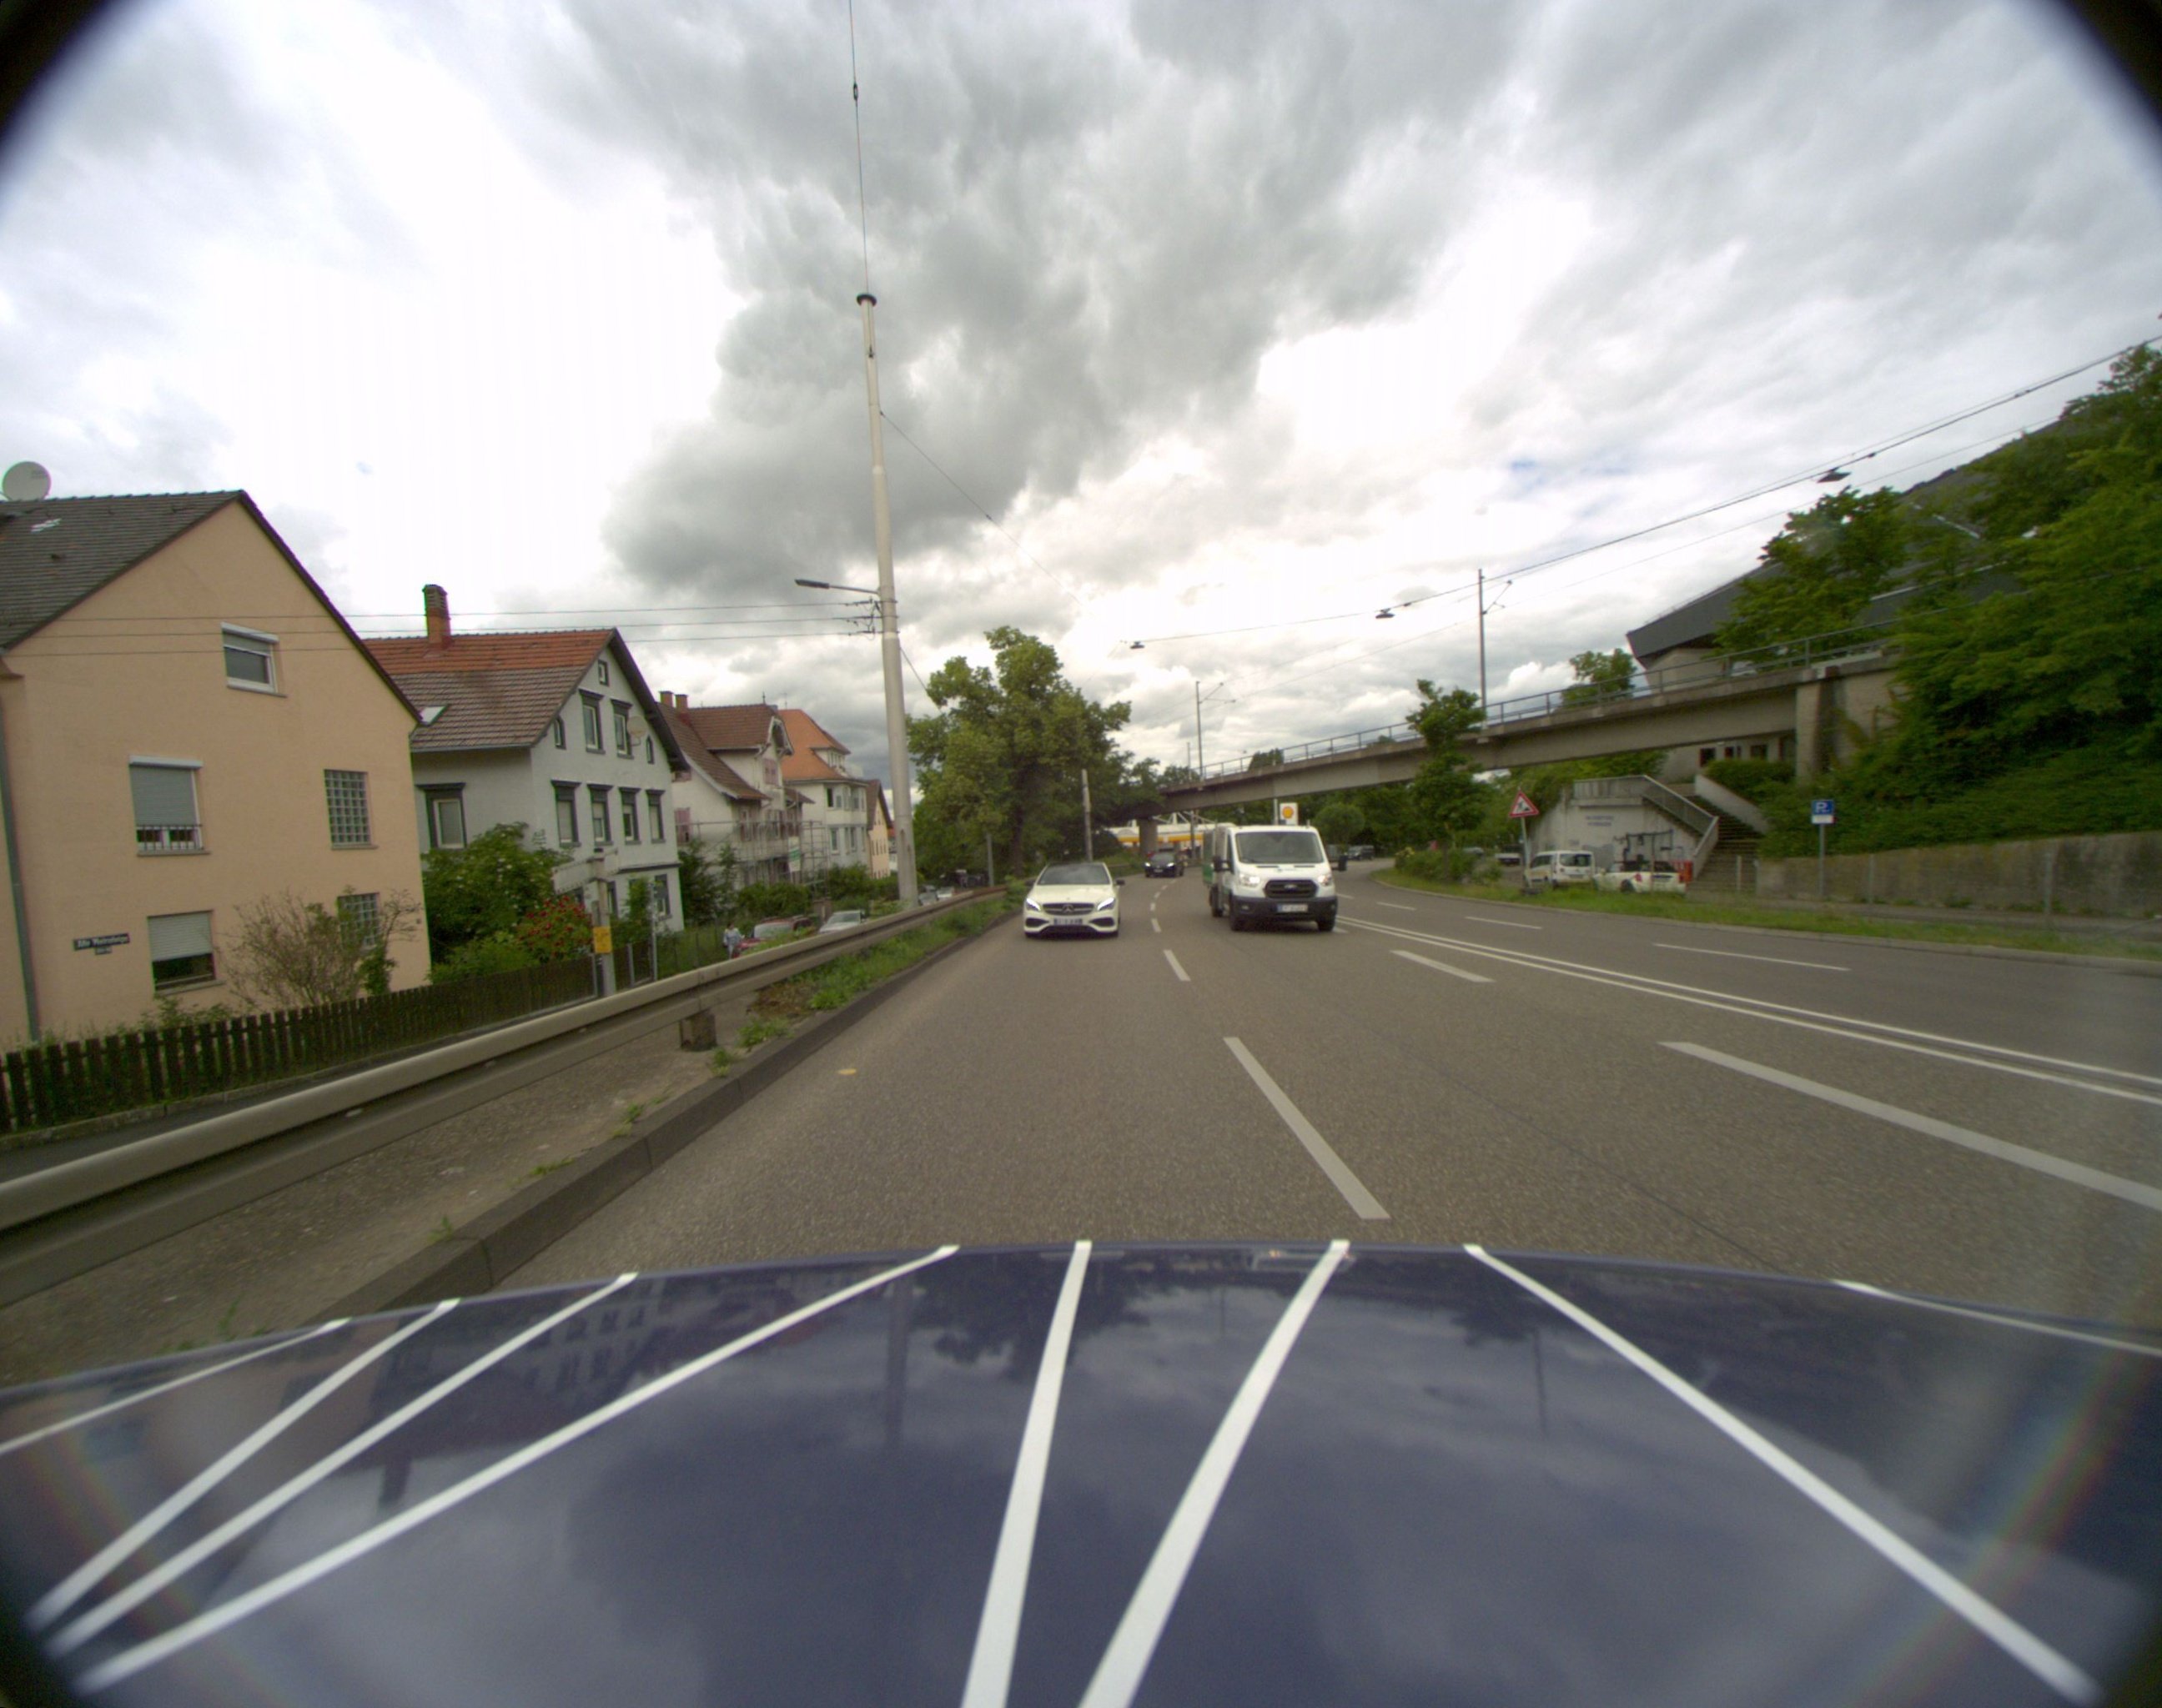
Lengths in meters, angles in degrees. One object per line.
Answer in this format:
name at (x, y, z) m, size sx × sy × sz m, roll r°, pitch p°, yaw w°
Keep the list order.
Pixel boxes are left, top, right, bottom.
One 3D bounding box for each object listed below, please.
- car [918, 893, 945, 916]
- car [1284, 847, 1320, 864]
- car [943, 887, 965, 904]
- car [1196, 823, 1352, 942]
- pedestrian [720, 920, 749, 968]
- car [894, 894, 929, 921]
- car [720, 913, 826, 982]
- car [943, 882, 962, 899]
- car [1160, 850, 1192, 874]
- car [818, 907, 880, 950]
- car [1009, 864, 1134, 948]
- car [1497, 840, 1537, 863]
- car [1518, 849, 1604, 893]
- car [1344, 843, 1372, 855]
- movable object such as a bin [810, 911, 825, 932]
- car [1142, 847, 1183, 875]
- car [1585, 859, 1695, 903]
car at (-11.820, 3.978, 60.381) m, size 1.624 × 1.439 × 4.028 m, roll -4°, pitch 0°, yaw -5°
car at (20.620, 0.124, 70.777) m, size 1.726 × 1.469 × 4.008 m, roll 0°, pitch 1°, yaw 41°
car at (-12.038, 3.931, 72.257) m, size 1.650 × 1.386 × 3.768 m, roll -4°, pitch 0°, yaw -5°
car at (4.025, 0.483, 17.124) m, size 1.998 × 2.161 × 6.268 m, roll 1°, pitch 1°, yaw 1°
pedestrian at (-11.577, 2.999, 25.383) m, size 0.619 × 1.472 × 0.589 m, roll -4°, pitch 0°, yaw -2°
car at (-11.250, 3.553, 50.718) m, size 1.623 × 1.439 × 4.056 m, roll -4°, pitch 0°, yaw -4°
car at (-9.918, 2.959, 24.810) m, size 1.787 × 1.660 × 4.202 m, roll -4°, pitch 0°, yaw -2°
car at (-13.142, 3.720, 77.868) m, size 1.624 × 1.512 × 4.301 m, roll -4°, pitch 0°, yaw -8°
car at (6.039, 0.491, 48.692) m, size 1.733 × 1.403 × 4.000 m, roll 0°, pitch 1°, yaw 3°
car at (-10.386, 3.309, 34.301) m, size 1.623 × 1.432 × 4.431 m, roll -4°, pitch 0°, yaw -4°
car at (-0.052, 0.959, 15.535) m, size 1.820 × 1.339 × 4.002 m, roll -2°, pitch 1°, yaw 9°
car at (45.170, -0.292, 78.609) m, size 2.268 × 2.260 × 6.340 m, roll 2°, pitch 2°, yaw 41°
car at (21.222, 0.676, 33.830) m, size 1.769 × 1.775 × 4.469 m, roll 2°, pitch 1°, yaw 12°
car at (33.843, -0.608, 92.749) m, size 1.726 × 1.469 × 4.008 m, roll 0°, pitch 1°, yaw 44°
movable object such as a bin at (-13.664, 3.499, 39.433) m, size 0.580 × 1.073 × 0.538 m, roll -1°, pitch 1°, yaw 2°
car at (4.943, 0.411, 46.489) m, size 1.998 × 1.521 × 4.000 m, roll -4°, pitch 0°, yaw 1°
car at (19.904, 0.908, 27.267) m, size 1.769 × 1.411 × 3.806 m, roll 0°, pitch 1°, yaw 12°
